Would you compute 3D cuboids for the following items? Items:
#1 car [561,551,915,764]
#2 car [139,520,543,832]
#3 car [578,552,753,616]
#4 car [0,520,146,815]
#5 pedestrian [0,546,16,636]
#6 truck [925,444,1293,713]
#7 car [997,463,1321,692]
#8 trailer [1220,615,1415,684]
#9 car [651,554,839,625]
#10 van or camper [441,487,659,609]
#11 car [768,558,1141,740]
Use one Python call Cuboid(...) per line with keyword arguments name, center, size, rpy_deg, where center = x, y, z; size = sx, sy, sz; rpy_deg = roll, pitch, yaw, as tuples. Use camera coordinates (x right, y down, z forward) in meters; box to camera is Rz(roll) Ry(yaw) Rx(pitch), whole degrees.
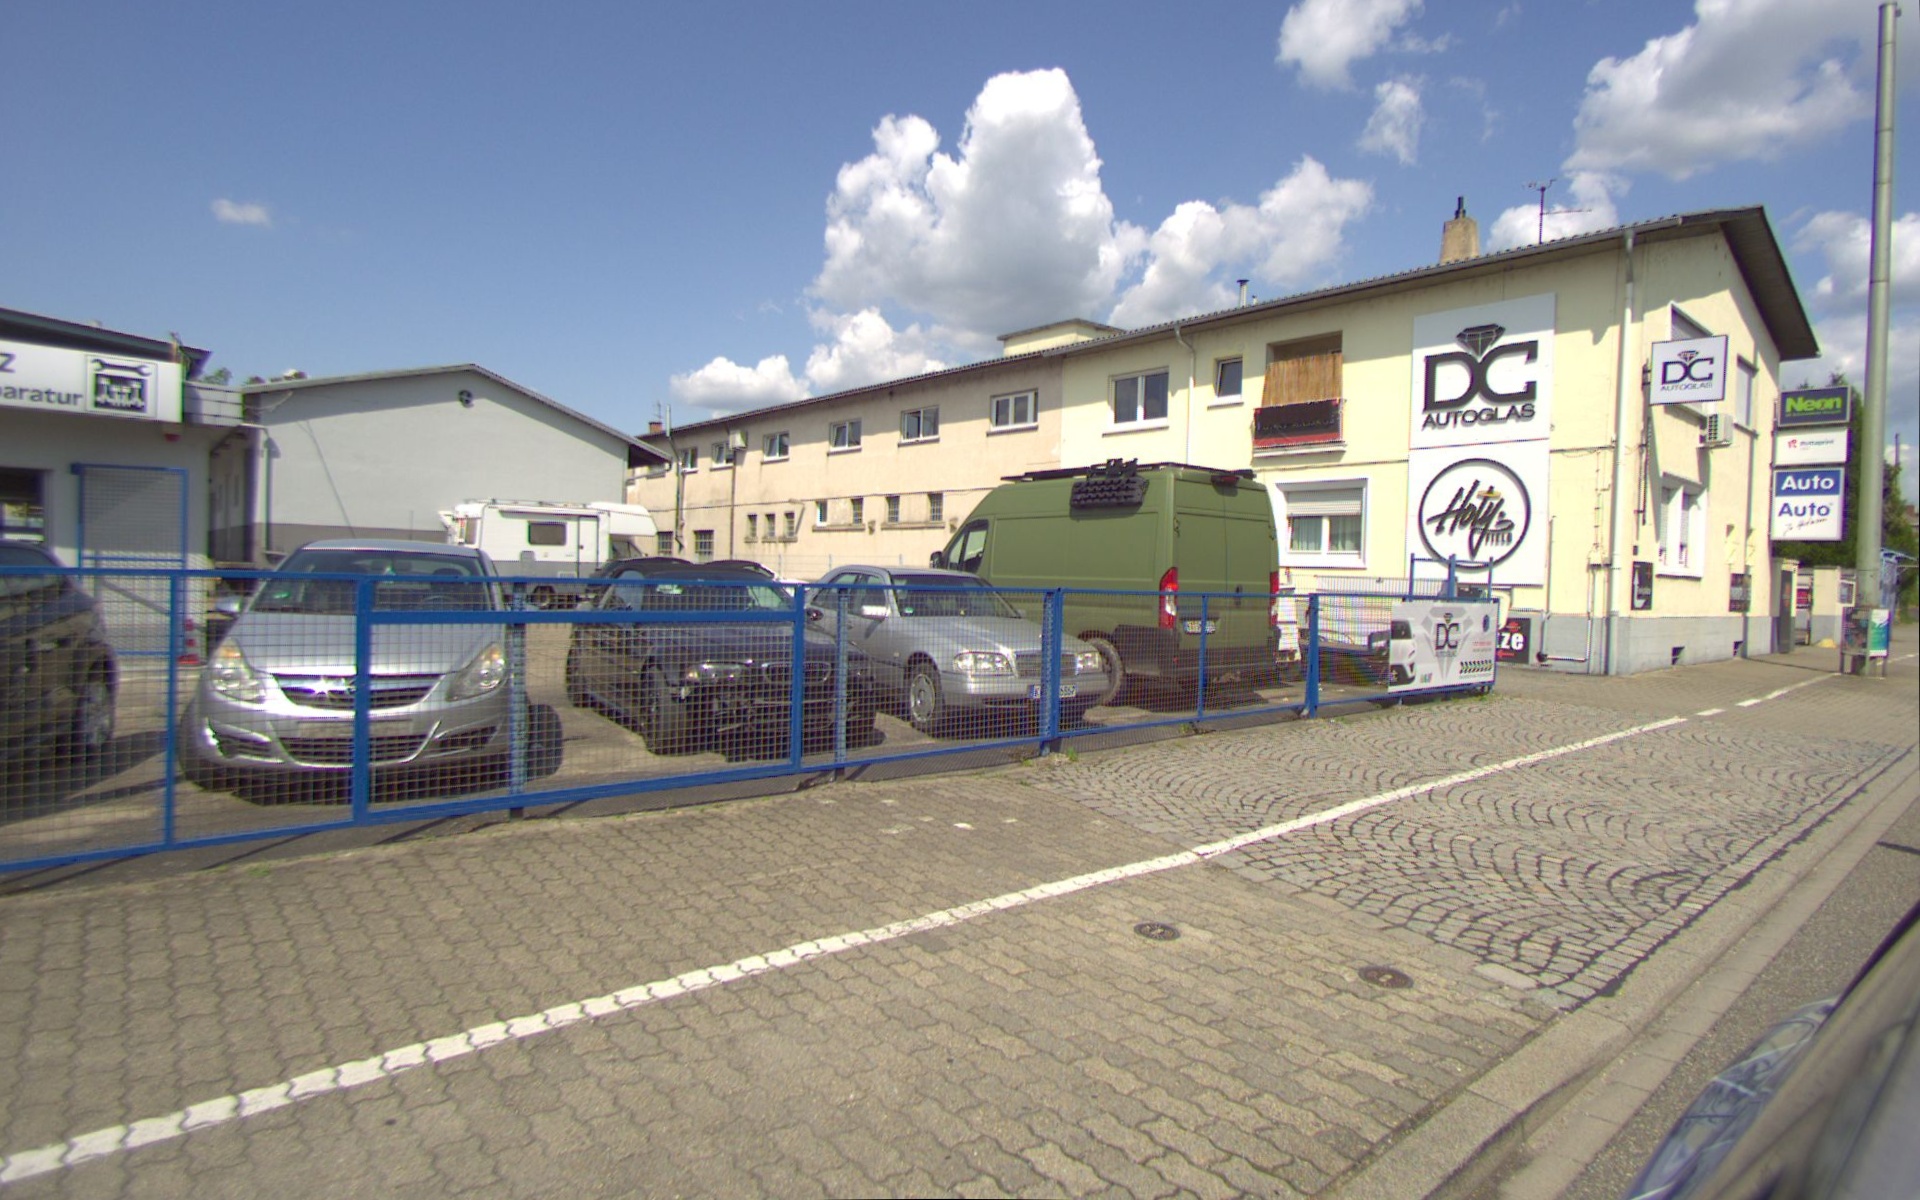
Cuboid(name="car", center=(-2.122, 0.309, 8.751), size=(1.768, 1.403, 3.837), rpy_deg=(1, 2, -32))
Cuboid(name="car", center=(-3.948, 0.301, 7.107), size=(1.766, 1.497, 4.158), rpy_deg=(1, 2, -24))
Cuboid(name="car", center=(-7.477, -0.410, 25.894), size=(3.939, 1.497, 1.719), rpy_deg=(0, 2, -41))
Cuboid(name="car", center=(-5.744, 0.323, 5.038), size=(1.685, 1.497, 4.012), rpy_deg=(1, 2, -25))
Cuboid(name="pedestrian", center=(-13.256, -0.129, 13.845), size=(0.479, 1.228, 0.501), rpy_deg=(1, 1, -42))
Cuboid(name="truck", center=(1.626, -0.285, 12.150), size=(2.033, 2.639, 3.996), rpy_deg=(1, 2, -40))
Cuboid(name="car", center=(2.615, -0.346, 14.148), size=(1.771, 2.702, 4.208), rpy_deg=(1, 2, -40))
Cuboid(name="trailer", center=(5.084, 0.669, 14.534), size=(1.245, 0.776, 2.330), rpy_deg=(0, 2, -39))
Cuboid(name="car", center=(-4.943, -0.247, 23.546), size=(3.939, 1.497, 1.719), rpy_deg=(0, 2, -41))
Cuboid(name="van or camper", center=(-11.006, -1.324, 27.372), size=(4.971, 2.999, 2.284), rpy_deg=(0, 2, -42))
Cuboid(name="car", center=(-0.293, 0.319, 10.210), size=(1.768, 1.413, 4.216), rpy_deg=(1, 2, -33))
